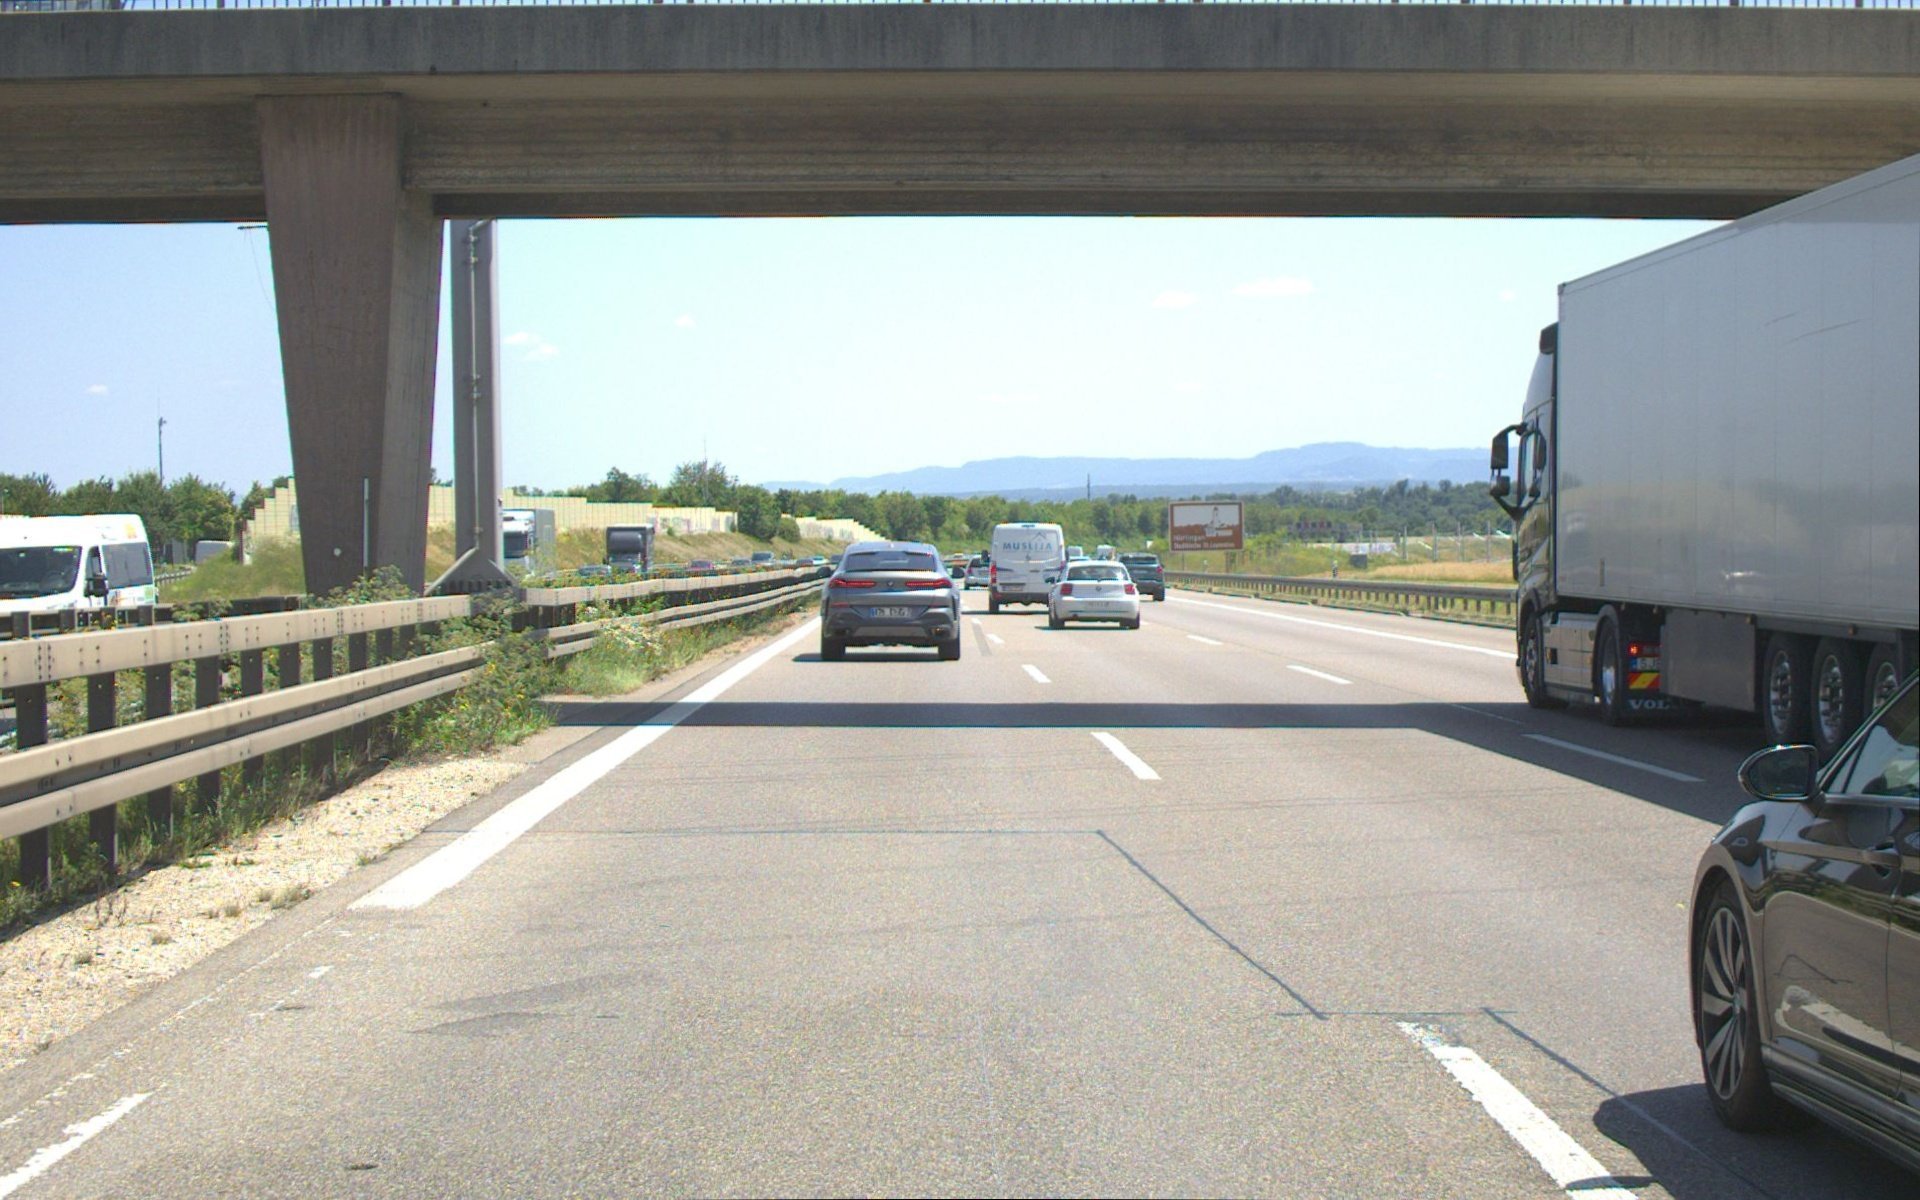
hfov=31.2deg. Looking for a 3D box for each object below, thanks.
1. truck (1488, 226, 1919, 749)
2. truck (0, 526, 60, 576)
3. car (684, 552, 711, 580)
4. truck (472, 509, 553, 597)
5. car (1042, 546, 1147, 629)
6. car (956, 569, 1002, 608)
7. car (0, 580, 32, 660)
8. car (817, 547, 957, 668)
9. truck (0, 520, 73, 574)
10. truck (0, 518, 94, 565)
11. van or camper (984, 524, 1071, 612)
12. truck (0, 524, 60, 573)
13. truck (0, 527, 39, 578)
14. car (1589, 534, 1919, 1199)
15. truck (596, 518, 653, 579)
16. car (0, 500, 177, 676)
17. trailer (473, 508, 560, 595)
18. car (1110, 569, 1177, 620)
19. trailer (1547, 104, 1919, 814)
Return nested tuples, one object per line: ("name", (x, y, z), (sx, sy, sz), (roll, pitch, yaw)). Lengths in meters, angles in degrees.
("truck", (7.015, -0.947, 31.743), (2.979, 4.213, 7.687), (1, 1, 0))
("truck", (-64.424, -3.187, 218.638), (14.418, 3.129, 2.660), (0, 1, -44))
("car", (-15.974, -2.057, 208.973), (1.547, 1.658, 4.229), (1, 1, -3))
("truck", (-19.289, -2.026, 148.459), (2.739, 3.666, 5.898), (1, 1, 0))
("car", (2.777, -0.276, 71.876), (1.993, 1.677, 4.000), (1, 1, 0))
("car", (0.864, -0.526, 155.647), (1.993, 1.677, 4.000), (1, 1, 0))
("car", (-17.970, 0.345, 60.917), (1.993, 1.393, 4.000), (1, 1, -1))
("car", (-1.095, 0.088, 49.625), (1.851, 1.658, 3.735), (1, 1, -3))
("truck", (-59.357, -3.189, 202.160), (14.418, 3.129, 2.660), (0, 1, -44))
("truck", (-65.575, -3.996, 231.955), (14.418, 3.129, 2.660), (0, 1, -44))
("van or camper", (1.729, -0.849, 90.377), (2.110, 2.204, 5.266), (1, 1, 0))
("truck", (-65.455, -3.402, 222.473), (14.418, 3.129, 2.660), (0, 1, -44))
("truck", (-63.247, -2.978, 209.275), (14.418, 3.129, 2.660), (0, 1, -44))
("car", (2.822, 0.662, 7.374), (1.933, 1.569, 4.935), (1, 1, -1))
("truck", (-20.250, -3.106, 208.155), (2.896, 3.551, 10.454), (1, 1, -3))
("car", (-13.729, -0.208, 52.347), (2.199, 2.501, 6.331), (1, 1, -1))
("trailer", (-19.174, -2.075, 148.994), (2.693, 3.613, 8.615), (1, 1, 0))
("car", (6.233, -0.216, 117.076), (1.993, 1.677, 4.000), (1, 1, 0))
("trailer", (7.076, -0.875, 25.514), (2.943, 4.184, 13.597), (1, 1, 0))
